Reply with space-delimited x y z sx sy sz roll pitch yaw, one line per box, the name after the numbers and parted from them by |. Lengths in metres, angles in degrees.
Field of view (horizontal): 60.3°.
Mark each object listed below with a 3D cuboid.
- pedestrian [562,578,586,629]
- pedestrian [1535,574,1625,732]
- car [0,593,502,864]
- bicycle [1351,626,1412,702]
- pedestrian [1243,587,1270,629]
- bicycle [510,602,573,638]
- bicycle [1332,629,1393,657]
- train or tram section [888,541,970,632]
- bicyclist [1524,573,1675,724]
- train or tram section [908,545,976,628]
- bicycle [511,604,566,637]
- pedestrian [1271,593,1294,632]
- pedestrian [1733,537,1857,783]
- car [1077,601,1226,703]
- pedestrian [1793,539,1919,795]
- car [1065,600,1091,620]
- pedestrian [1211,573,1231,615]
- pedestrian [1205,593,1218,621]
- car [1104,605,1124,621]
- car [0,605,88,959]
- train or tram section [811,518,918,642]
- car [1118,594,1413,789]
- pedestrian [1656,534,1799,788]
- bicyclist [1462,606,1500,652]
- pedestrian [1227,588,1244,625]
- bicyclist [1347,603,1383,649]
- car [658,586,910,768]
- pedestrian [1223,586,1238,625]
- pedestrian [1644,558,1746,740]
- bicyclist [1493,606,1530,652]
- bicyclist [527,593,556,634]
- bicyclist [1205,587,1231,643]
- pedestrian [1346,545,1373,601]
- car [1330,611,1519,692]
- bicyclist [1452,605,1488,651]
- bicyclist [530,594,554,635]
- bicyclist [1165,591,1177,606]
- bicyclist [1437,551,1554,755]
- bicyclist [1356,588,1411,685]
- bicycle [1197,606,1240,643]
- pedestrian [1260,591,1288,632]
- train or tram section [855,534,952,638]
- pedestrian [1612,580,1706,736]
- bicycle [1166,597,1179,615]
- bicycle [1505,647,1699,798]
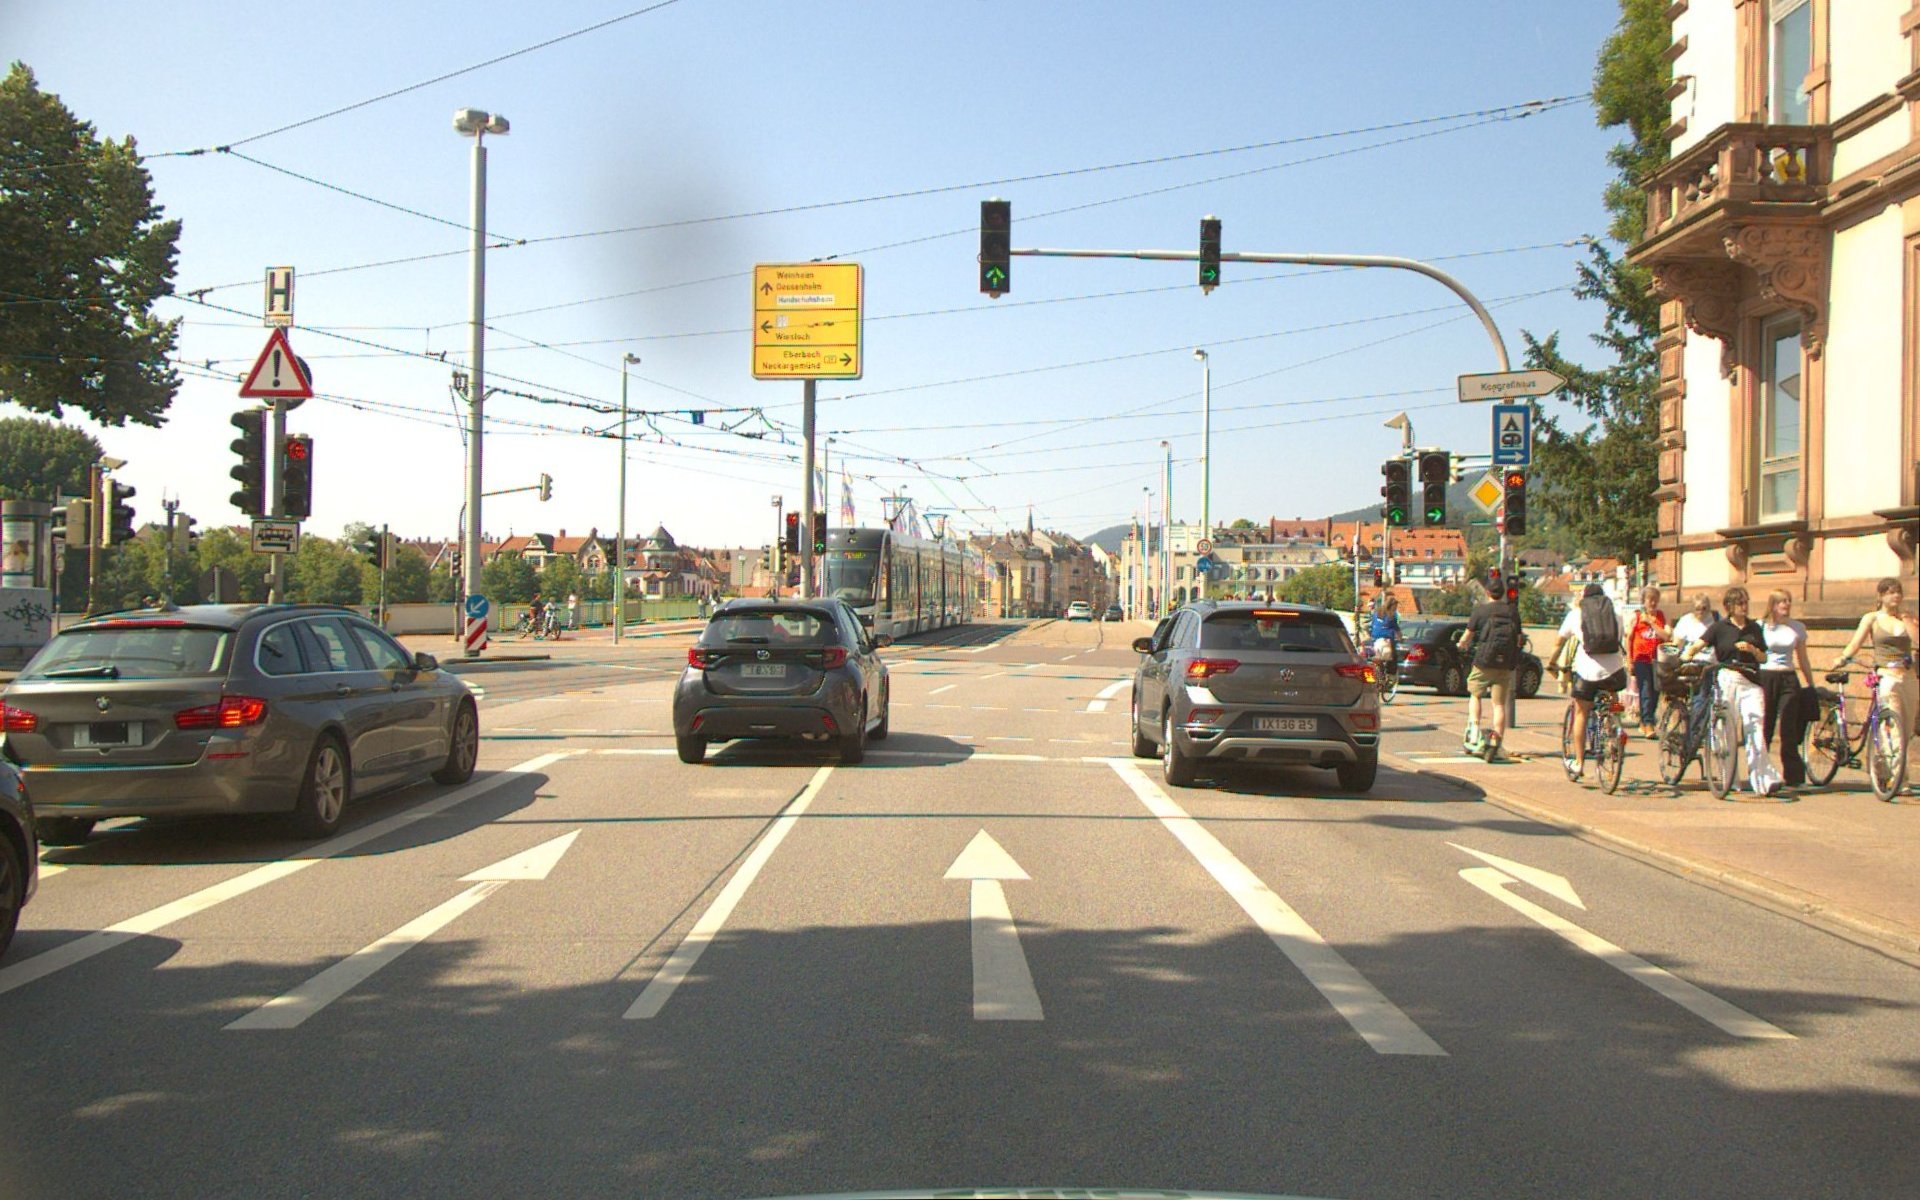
-15.624 0.158 66.954 0.884 2.049 0.830 0 0 -17 | pedestrian
7.264 0.604 19.413 0.691 1.800 0.903 1 0 -2 | pedestrian
-4.781 0.722 11.706 1.712 1.512 4.747 -1 0 0 | car
7.124 1.057 28.037 0.602 1.185 2.251 1 0 4 | bicycle
12.613 0.350 70.406 0.965 1.781 0.929 1 -1 -1 | pedestrian
-15.331 0.738 60.537 2.202 1.301 0.736 0 0 -18 | bicycle
13.443 1.425 55.240 1.897 0.841 0.566 2 0 9 | bicycle
-1.269 -0.612 73.304 2.353 3.745 9.626 0 0 6 | train or tram section
5.417 0.399 14.066 0.902 1.241 0.971 0 0 -1 | bicyclist
-0.775 -0.681 82.499 2.418 3.843 11.856 0 0 4 | train or tram section
-15.605 0.749 61.248 1.938 1.230 0.636 0 0 -18 | bicycle
13.691 0.525 70.255 0.783 1.663 0.949 1 -1 -1 | pedestrian
7.184 0.501 14.251 0.647 2.049 0.699 -2 0 -1 | pedestrian
2.966 0.767 26.424 1.952 1.512 4.000 0 0 0 | car
7.562 0.535 13.738 0.795 2.049 0.815 -2 0 -1 | pedestrian
8.892 0.770 124.605 1.766 1.495 4.000 0 -1 2 | car
12.850 -0.277 81.452 0.787 2.049 0.954 1 -1 -1 | pedestrian
16.395 0.463 107.918 0.641 1.774 0.978 1 1 0 | pedestrian
14.743 1.240 158.313 1.765 1.495 4.002 -1 -1 7 | car
-4.762 0.736 5.378 1.756 1.436 3.999 0 0 -1 | car
-3.129 -0.659 56.460 2.484 3.843 9.174 0 0 4 | train or tram section
2.618 0.720 15.112 1.890 1.542 3.992 0 0 -1 | car
6.372 0.490 13.773 0.795 2.049 0.815 0 0 -1 | pedestrian
17.741 0.980 56.341 1.059 1.499 0.761 2 0 28 | bicyclist
13.320 0.321 79.993 0.681 1.746 0.731 1 -1 -1 | pedestrian
13.525 0.861 55.220 1.057 1.499 0.801 2 0 8 | bicyclist
-1.597 0.670 16.409 1.870 1.567 4.001 -1 0 3 | car
12.971 0.278 79.295 0.538 1.830 0.645 1 -1 -1 | pedestrian
8.060 0.522 18.163 0.622 1.924 0.903 2 0 -2 | pedestrian
18.811 0.980 56.437 1.057 1.499 0.929 2 0 12 | bicyclist
-15.318 0.487 60.571 0.987 1.474 0.812 0 0 -18 | bicyclist
8.218 0.484 52.741 0.659 1.774 1.150 1 -1 0 | bicyclist
13.544 -0.919 56.089 0.757 1.888 0.645 1 0 7 | pedestrian
9.370 1.022 33.207 1.967 1.461 3.971 2 0 44 | car
17.619 0.960 57.181 1.057 1.499 0.929 2 0 11 | bicyclist
-15.488 0.522 61.242 0.811 1.519 0.872 0 0 -17 | bicyclist
15.157 -0.098 118.957 0.653 1.063 0.980 -4 -1 0 | bicyclist
5.503 0.533 17.040 0.922 2.049 0.830 0 0 -2 | bicyclist
7.124 0.598 27.868 0.758 1.581 1.060 1 0 8 | bicyclist
8.132 0.766 52.186 0.776 1.115 3.744 0 0 0 | bicycle
13.776 0.501 72.515 0.965 1.800 1.254 0 0 -1 | pedestrian
-2.147 -0.556 66.428 2.483 3.843 9.176 0 0 7 | train or tram section
8.212 0.674 19.459 0.691 1.783 0.903 0 -1 -2 | pedestrian
15.245 0.448 118.596 0.681 1.214 2.079 0 -1 0 | bicycle
5.406 0.995 14.089 0.763 1.122 2.138 0 0 -2 | bicycle
